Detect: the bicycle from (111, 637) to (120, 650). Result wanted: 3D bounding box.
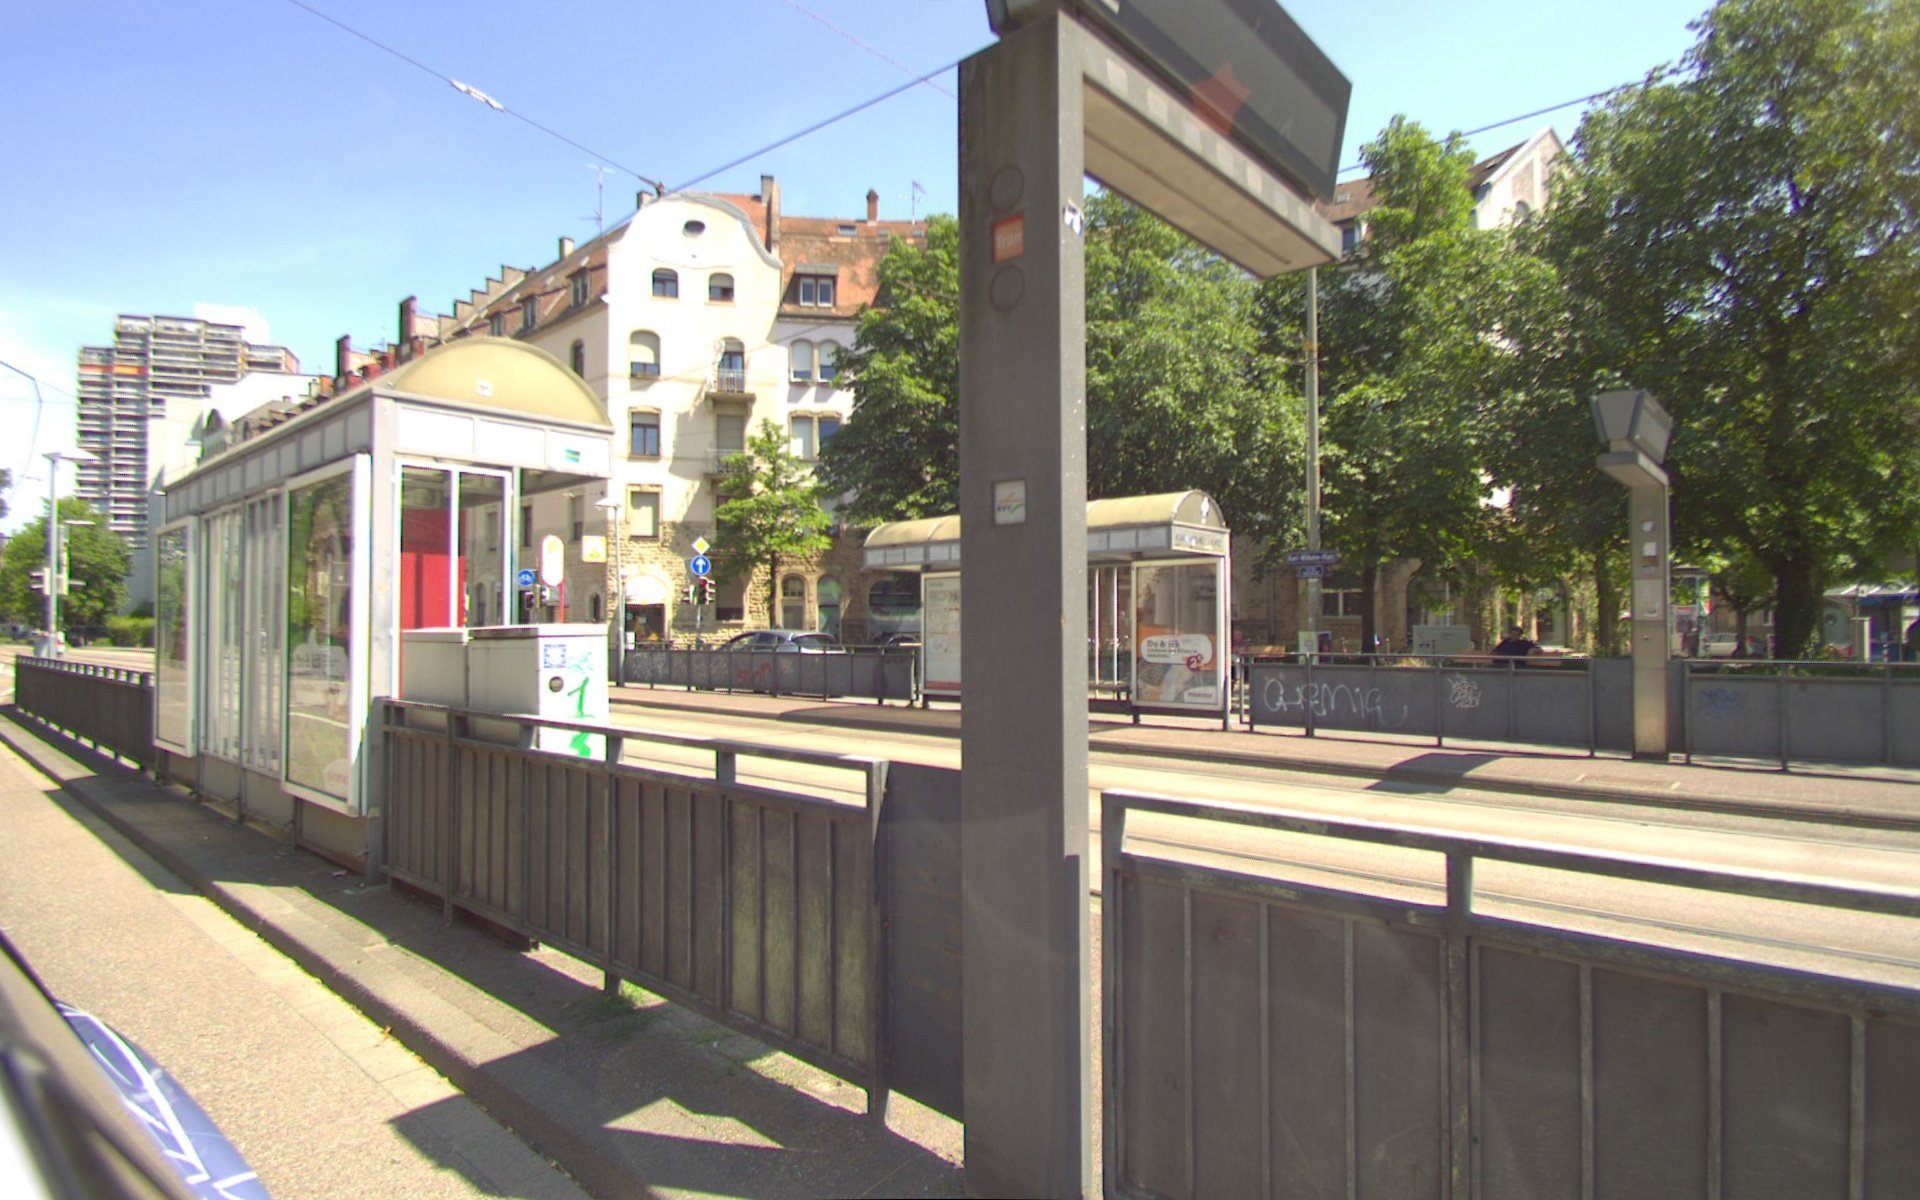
[{"bbox_3d":[-71.919,3.729,86.226,1.727,1.076,0.336,-1,-1,42],"label":"bicycle"}]

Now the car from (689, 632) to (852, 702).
[{"bbox_3d":[-4.177,1.386,22.028,3.716,1.349,1.525,-1,-1,40],"label":"car"}]

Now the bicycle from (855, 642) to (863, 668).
[{"bbox_3d":[-4.062,2.225,40.789,0.286,0.981,1.675,0,-1,-6],"label":"bicycle"}]

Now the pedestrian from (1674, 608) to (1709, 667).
[{"bbox_3d":[25.573,1.317,35.393,0.801,2.029,0.717,1,-2,-35],"label":"pedestrian"}]

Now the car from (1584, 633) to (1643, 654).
[{"bbox_3d":[27.627,1.848,42.835,1.899,0.872,0.856,-1,-1,17],"label":"car"}]

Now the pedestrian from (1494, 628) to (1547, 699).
[{"bbox_3d":[10.589,1.189,19.121,0.637,1.297,0.618,0,-1,2],"label":"pedestrian"}]

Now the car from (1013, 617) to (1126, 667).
[{"bbox_3d":[3.676,1.379,33.703,3.554,1.587,1.575,-1,-1,15],"label":"car"}]

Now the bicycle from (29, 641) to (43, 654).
[{"bbox_3d":[-80.650,4.118,88.352,2.185,1.082,0.637,-2,-3,42],"label":"bicycle"}]

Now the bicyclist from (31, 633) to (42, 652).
[{"bbox_3d":[-80.621,3.714,88.347,0.579,1.676,0.603,-2,-3,41],"label":"bicyclist"}]

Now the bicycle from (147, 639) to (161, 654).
[{"bbox_3d":[-61.065,3.542,76.660,2.046,1.105,0.487,-2,-2,42],"label":"bicycle"}]

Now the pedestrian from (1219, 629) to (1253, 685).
[{"bbox_3d":[6.329,1.305,23.224,0.637,1.265,0.549,0,-1,2],"label":"pedestrian"}]

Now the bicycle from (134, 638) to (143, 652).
[{"bbox_3d":[-65.088,3.531,80.171,1.899,1.054,0.286,-1,-1,42],"label":"bicycle"}]

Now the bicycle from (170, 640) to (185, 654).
[{"bbox_3d":[-54.954,3.327,71.088,1.953,0.955,0.457,-2,-2,42],"label":"bicycle"}]

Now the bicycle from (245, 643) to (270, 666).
[{"bbox_3d":[-35.572,2.744,51.231,1.977,1.166,0.621,-2,-2,42],"label":"bicycle"}]

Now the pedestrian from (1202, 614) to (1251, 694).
[{"bbox_3d":[5.521,1.101,20.952,0.772,1.618,0.673,-1,-1,38],"label":"pedestrian"}]

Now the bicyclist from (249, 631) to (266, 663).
[{"bbox_3d":[-35.501,2.356,51.134,0.585,1.586,0.602,-1,-1,42],"label":"bicyclist"}]
